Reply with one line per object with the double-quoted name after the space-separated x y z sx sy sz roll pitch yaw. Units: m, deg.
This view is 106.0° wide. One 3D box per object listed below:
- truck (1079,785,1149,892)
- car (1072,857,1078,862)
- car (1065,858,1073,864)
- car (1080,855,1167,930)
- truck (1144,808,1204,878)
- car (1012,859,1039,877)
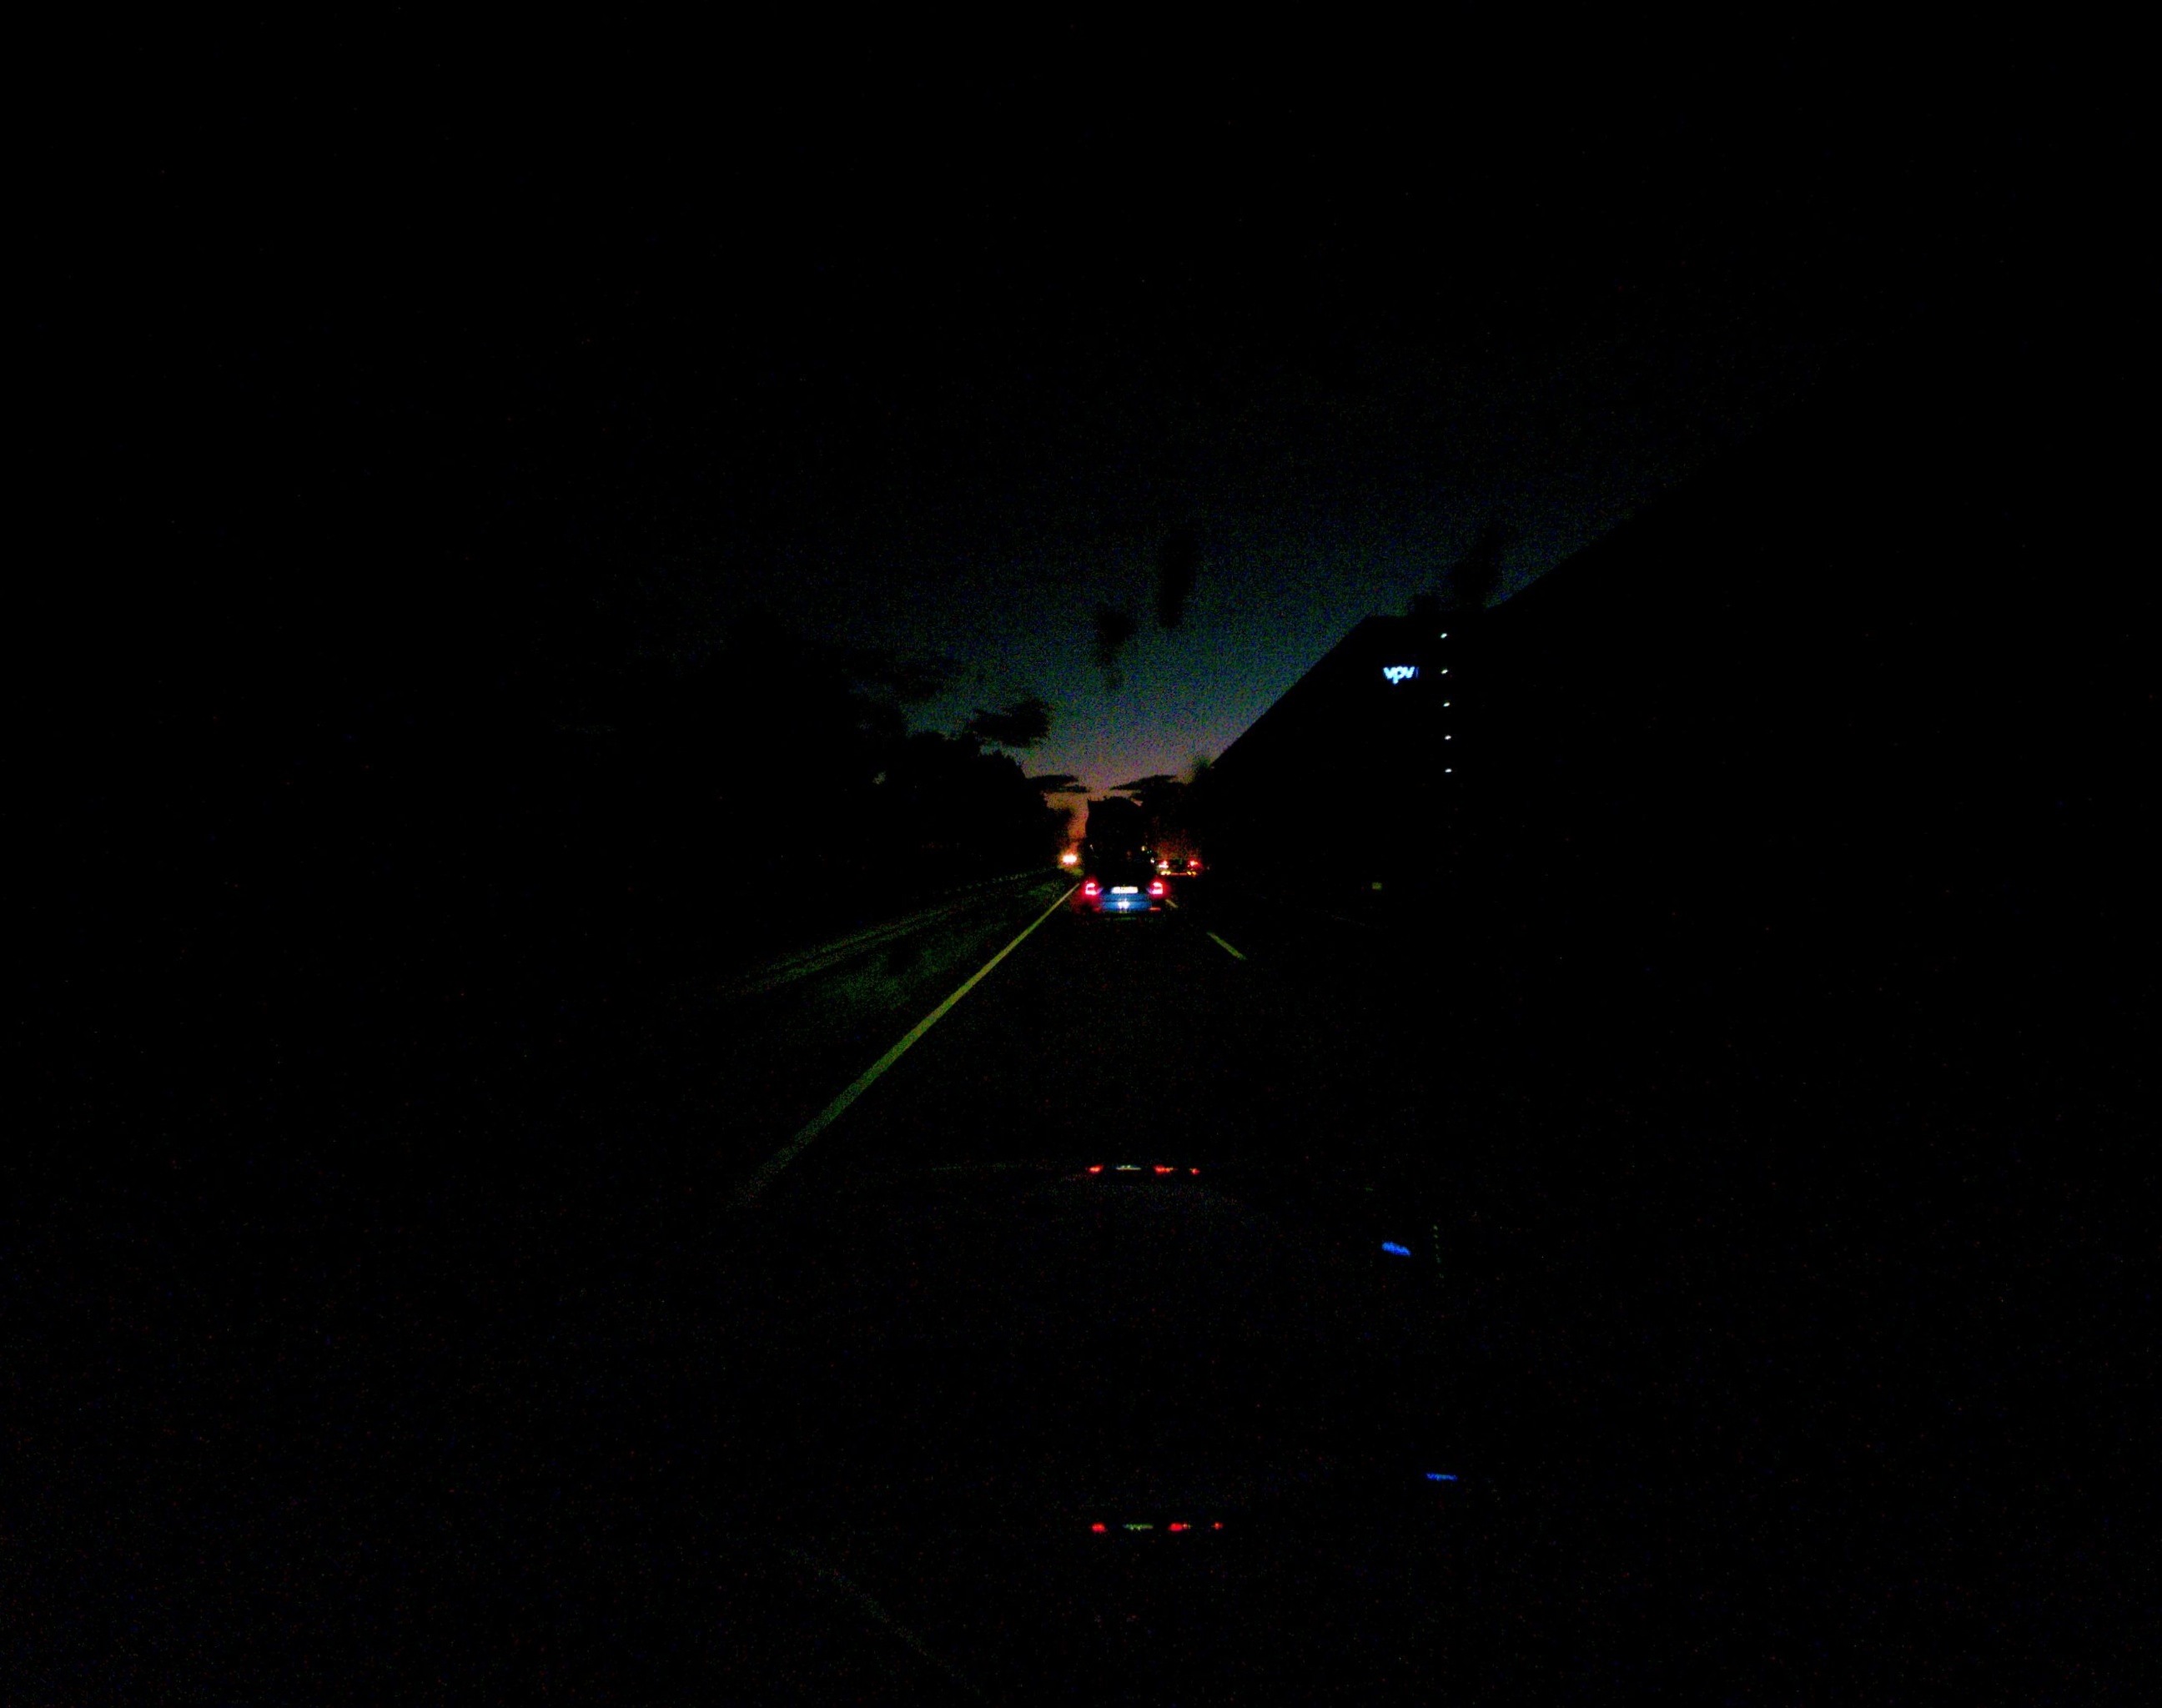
1.489 -0.544 37.907 2.677 4.106 13.146 0 0 2 "truck"
-1.925 1.592 255.265 1.611 1.507 3.870 0 -1 2 "car"
-2.965 1.731 201.533 1.676 1.587 4.168 0 0 2 "car"
0.891 0.777 17.933 1.689 1.452 3.915 0 -1 2 "car"
5.941 -0.591 53.870 2.872 4.106 12.688 0 0 2 "truck"
-4.431 1.079 65.512 1.713 1.407 4.576 0 0 2 "car"
